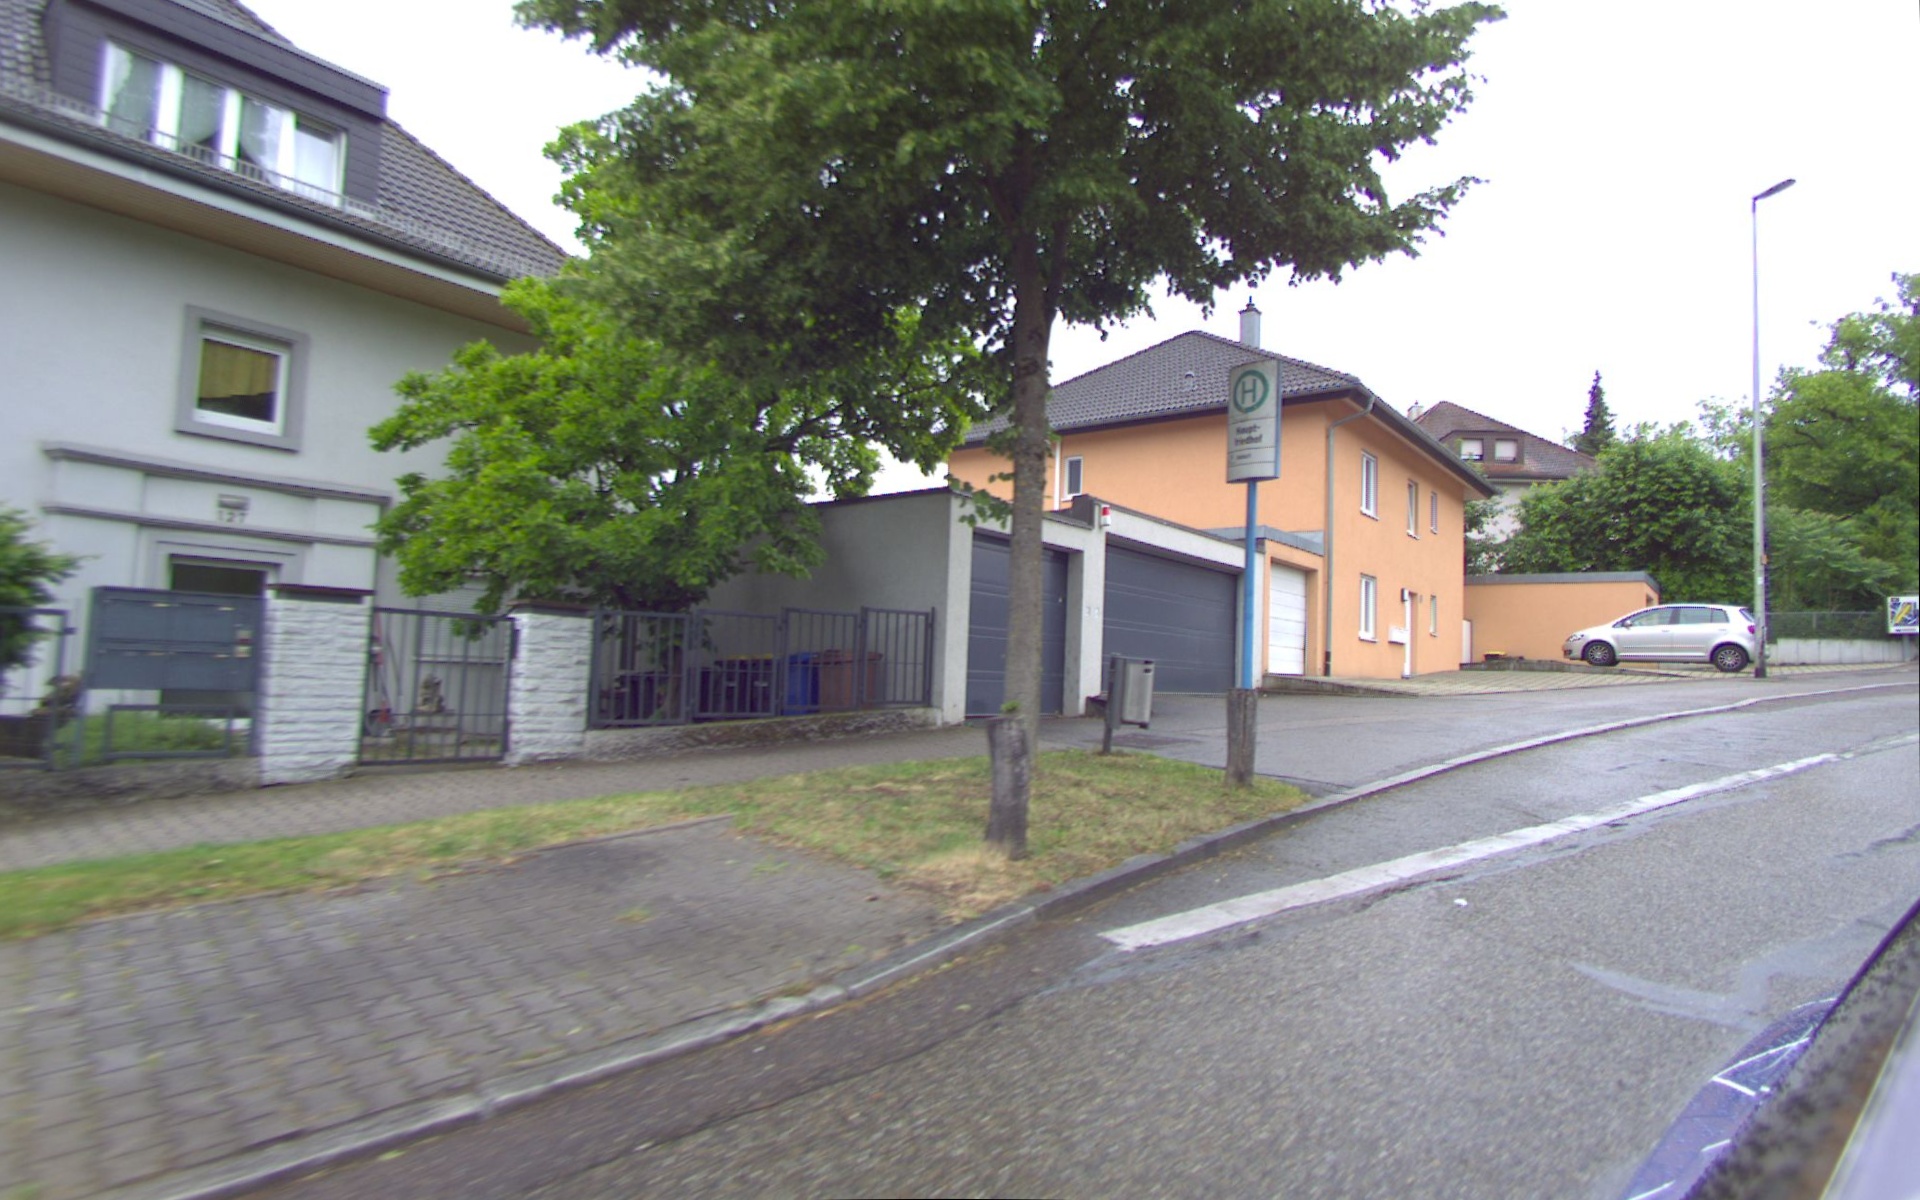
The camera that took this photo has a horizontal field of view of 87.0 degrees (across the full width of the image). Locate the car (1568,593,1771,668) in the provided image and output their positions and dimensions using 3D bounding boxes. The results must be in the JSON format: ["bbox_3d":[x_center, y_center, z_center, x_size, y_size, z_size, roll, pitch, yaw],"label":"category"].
[{"bbox_3d":[17.088,0.696,24.461,3.855,1.586,1.701,2,0,42],"label":"car"}]
